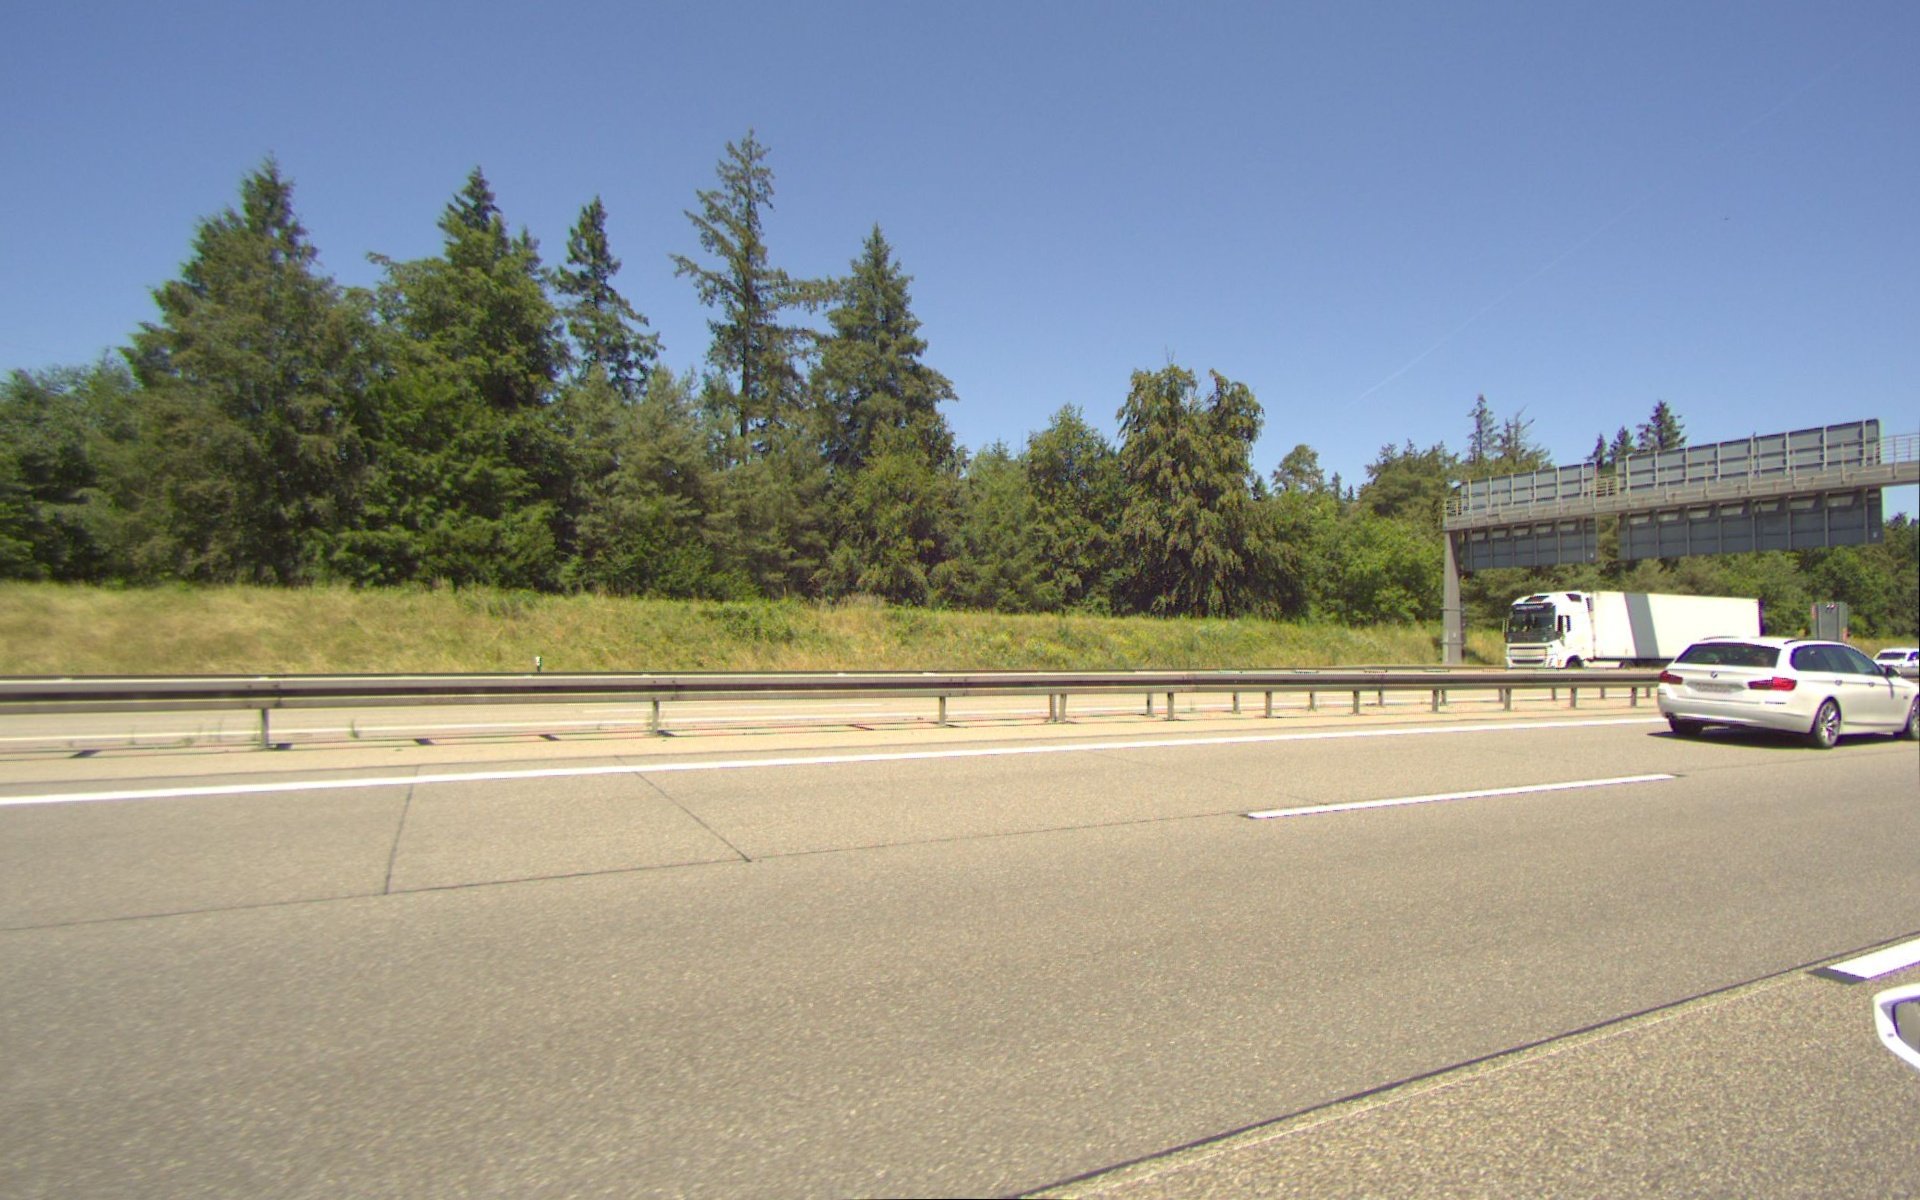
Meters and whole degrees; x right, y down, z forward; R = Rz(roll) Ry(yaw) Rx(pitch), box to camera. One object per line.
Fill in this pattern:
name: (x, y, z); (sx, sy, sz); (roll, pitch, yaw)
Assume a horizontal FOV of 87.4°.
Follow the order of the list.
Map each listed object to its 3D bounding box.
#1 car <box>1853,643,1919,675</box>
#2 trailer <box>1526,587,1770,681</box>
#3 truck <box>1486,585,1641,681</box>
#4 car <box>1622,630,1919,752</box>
car: (55.928, 3.549, 60.246); (4.929, 1.773, 1.985); (2, -1, -28)
trailer: (33.361, 1.727, 48.411); (14.172, 4.096, 3.203); (2, -1, -26)
truck: (27.205, 1.507, 45.307); (6.134, 4.071, 3.204); (2, -1, -26)
car: (12.472, 1.293, 15.055); (5.338, 1.523, 1.956); (2, -1, -28)
